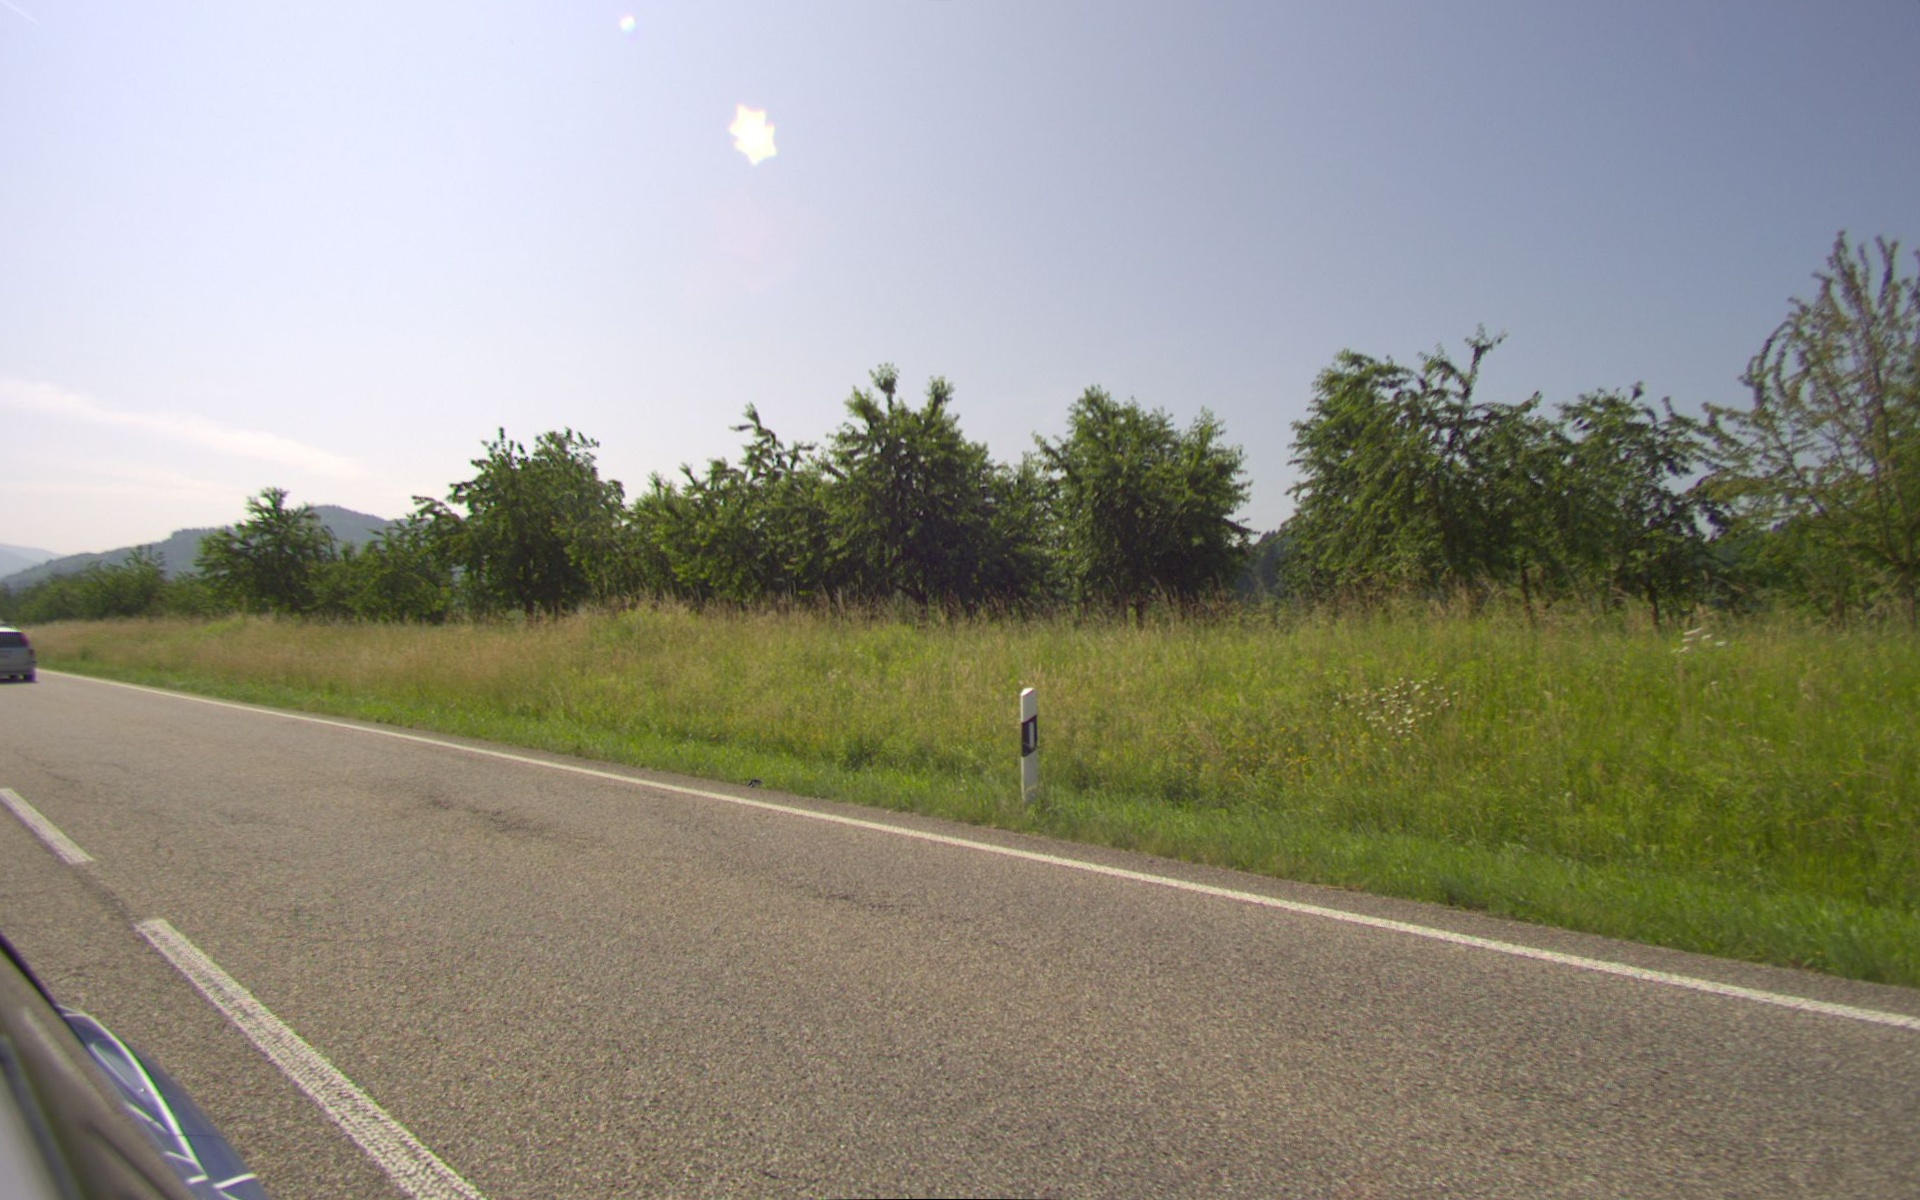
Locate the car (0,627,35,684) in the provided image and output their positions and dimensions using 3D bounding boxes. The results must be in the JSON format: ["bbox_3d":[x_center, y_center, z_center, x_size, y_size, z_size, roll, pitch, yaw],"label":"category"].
[{"bbox_3d":[-26.118,1.438,26.900,4.891,1.419,1.673,-1,-1,41],"label":"car"}]
